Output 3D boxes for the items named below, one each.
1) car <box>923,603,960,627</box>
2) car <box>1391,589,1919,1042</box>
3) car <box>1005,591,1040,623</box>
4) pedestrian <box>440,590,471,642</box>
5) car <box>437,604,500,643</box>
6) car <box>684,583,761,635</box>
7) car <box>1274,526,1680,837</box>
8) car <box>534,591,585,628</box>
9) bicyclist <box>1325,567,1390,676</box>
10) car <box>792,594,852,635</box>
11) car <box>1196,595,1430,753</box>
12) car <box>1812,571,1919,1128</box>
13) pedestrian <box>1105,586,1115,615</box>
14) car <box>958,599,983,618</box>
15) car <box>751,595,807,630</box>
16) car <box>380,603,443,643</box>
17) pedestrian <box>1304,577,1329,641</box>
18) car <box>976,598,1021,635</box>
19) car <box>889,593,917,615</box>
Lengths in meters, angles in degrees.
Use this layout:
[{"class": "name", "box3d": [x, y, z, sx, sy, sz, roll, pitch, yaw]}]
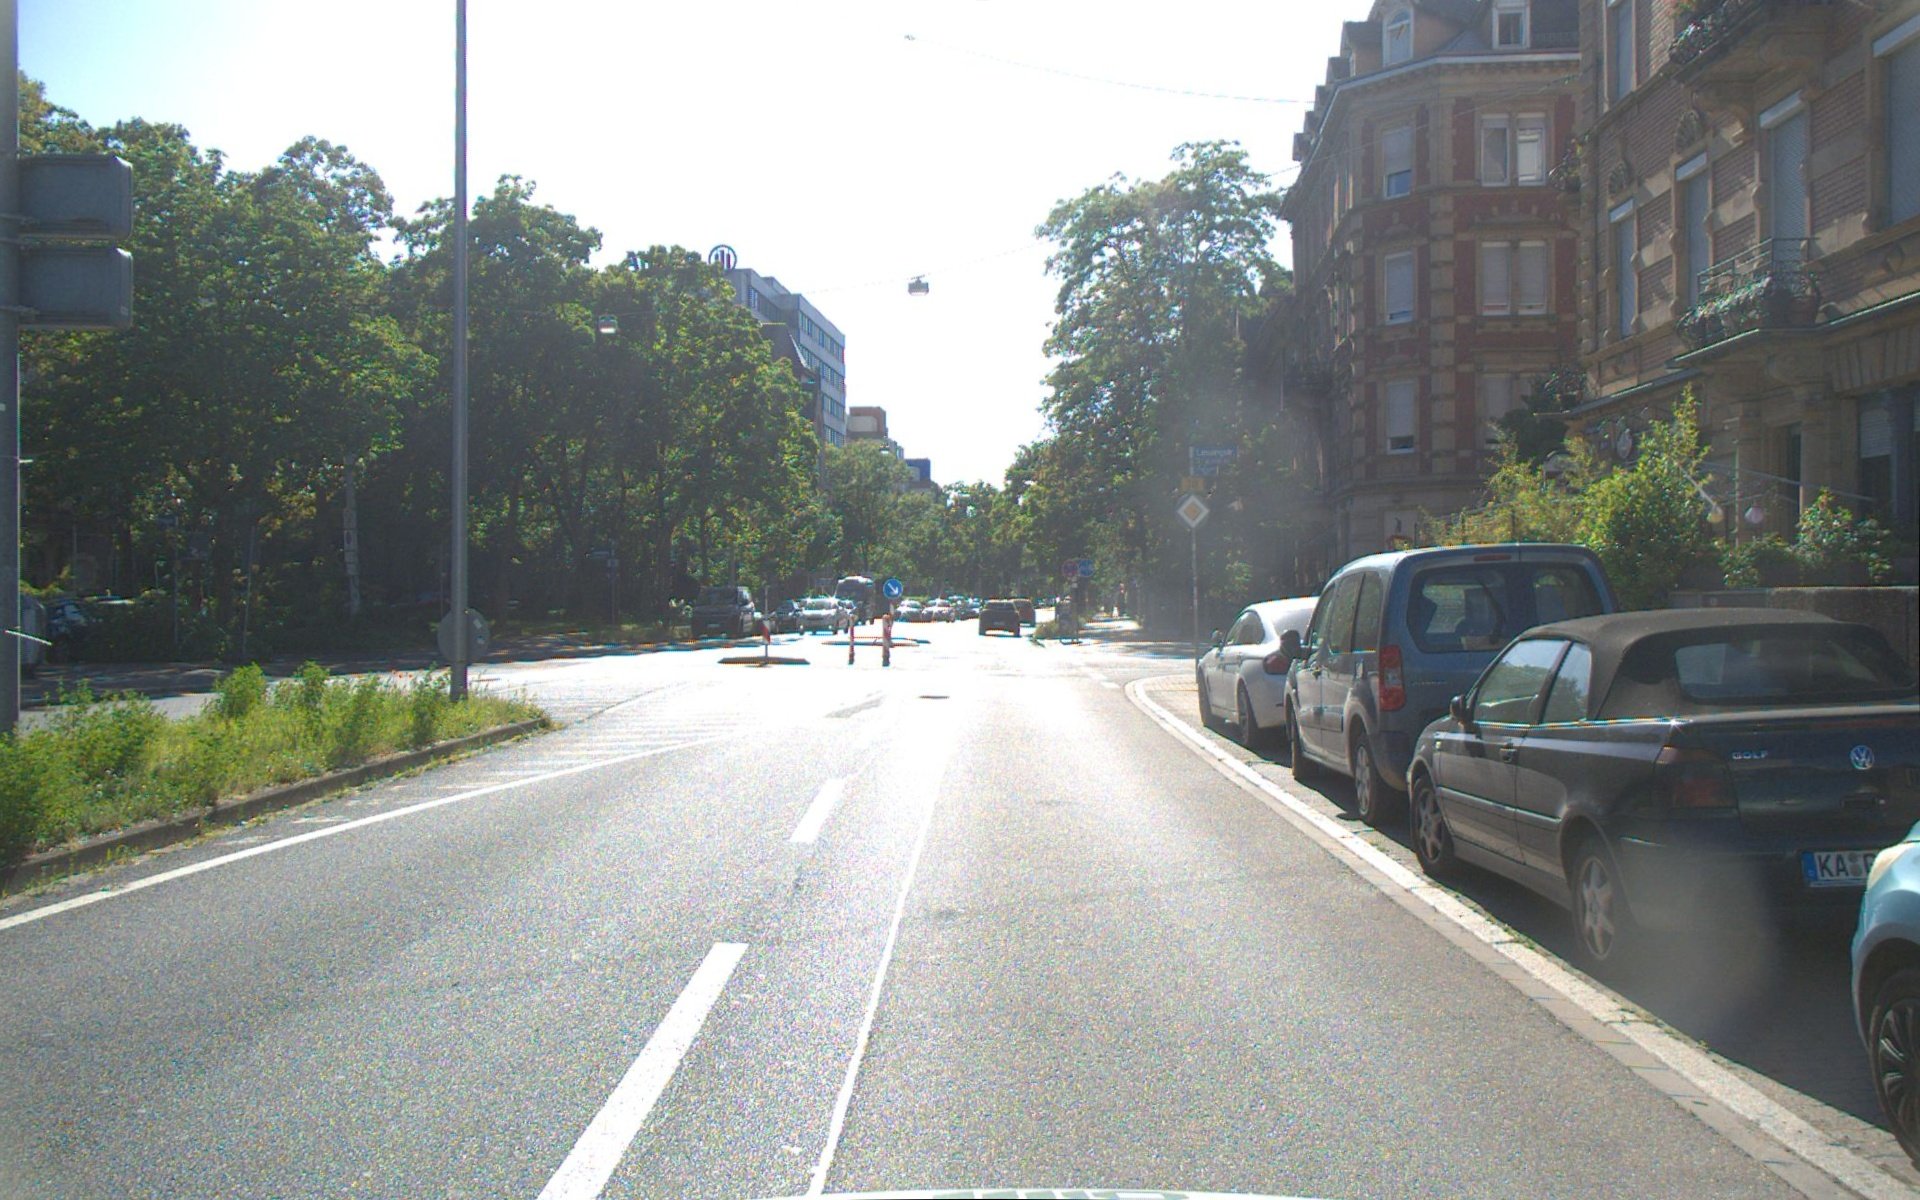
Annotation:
[{"class": "car", "box3d": [-1.177, 0.961, 104.919, 1.746, 1.486, 4.418, 0, -1, 7]}, {"class": "car", "box3d": [3.290, 0.707, 7.644, 1.633, 1.493, 4.275, 0, 0, 2]}, {"class": "car", "box3d": [3.527, 0.394, 93.052, 1.781, 1.771, 4.002, 0, 0, 4]}, {"class": "pedestrian", "box3d": [-16.321, 0.519, 53.516, 0.656, 1.655, 0.713, 0, 0, 33]}, {"class": "car", "box3d": [-22.595, 1.070, 75.938, 1.954, 1.691, 3.961, -1, 1, -29]}, {"class": "car", "box3d": [-9.401, 0.340, 65.842, 2.153, 1.963, 4.864, 0, 0, 2]}, {"class": "car", "box3d": [3.557, 0.480, 12.250, 1.781, 1.876, 4.365, -1, 0, 2]}, {"class": "car", "box3d": [-19.310, 0.433, 79.664, 1.946, 1.691, 3.977, -1, 0, -20]}, {"class": "bicyclist", "box3d": [6.032, 0.313, 25.144, 0.726, 1.607, 1.100, 1, 1, 1]}, {"class": "car", "box3d": [-5.758, 0.580, 69.377, 1.721, 1.545, 3.863, -1, 1, 7]}, {"class": "car", "box3d": [3.614, 0.690, 17.646, 1.674, 1.450, 4.206, -1, 0, 1]}, {"class": "car", "box3d": [3.371, 0.657, 3.262, 1.589, 1.496, 3.298, -3, 1, -1]}, {"class": "pedestrian", "box3d": [10.675, 0.055, 117.591, 0.602, 2.049, 0.681, 0, 0, 1]}, {"class": "car", "box3d": [0.867, 0.682, 137.166, 1.603, 1.545, 4.034, 0, 0, 7]}, {"class": "car", "box3d": [-8.376, 0.564, 77.013, 1.721, 1.545, 3.862, 0, 0, 7]}, {"class": "car", "box3d": [-24.844, 1.007, 74.849, 1.955, 1.691, 3.958, -1, 1, -31]}, {"class": "pedestrian", "box3d": [10.444, 0.263, 48.444, 0.642, 1.848, 0.752, 0, -3, 5]}, {"class": "car", "box3d": [1.692, 0.705, 72.610, 1.855, 1.545, 4.001, 2, 0, 1]}, {"class": "car", "box3d": [-4.135, 0.279, 119.860, 1.764, 1.530, 3.808, 0, 0, 2]}]
